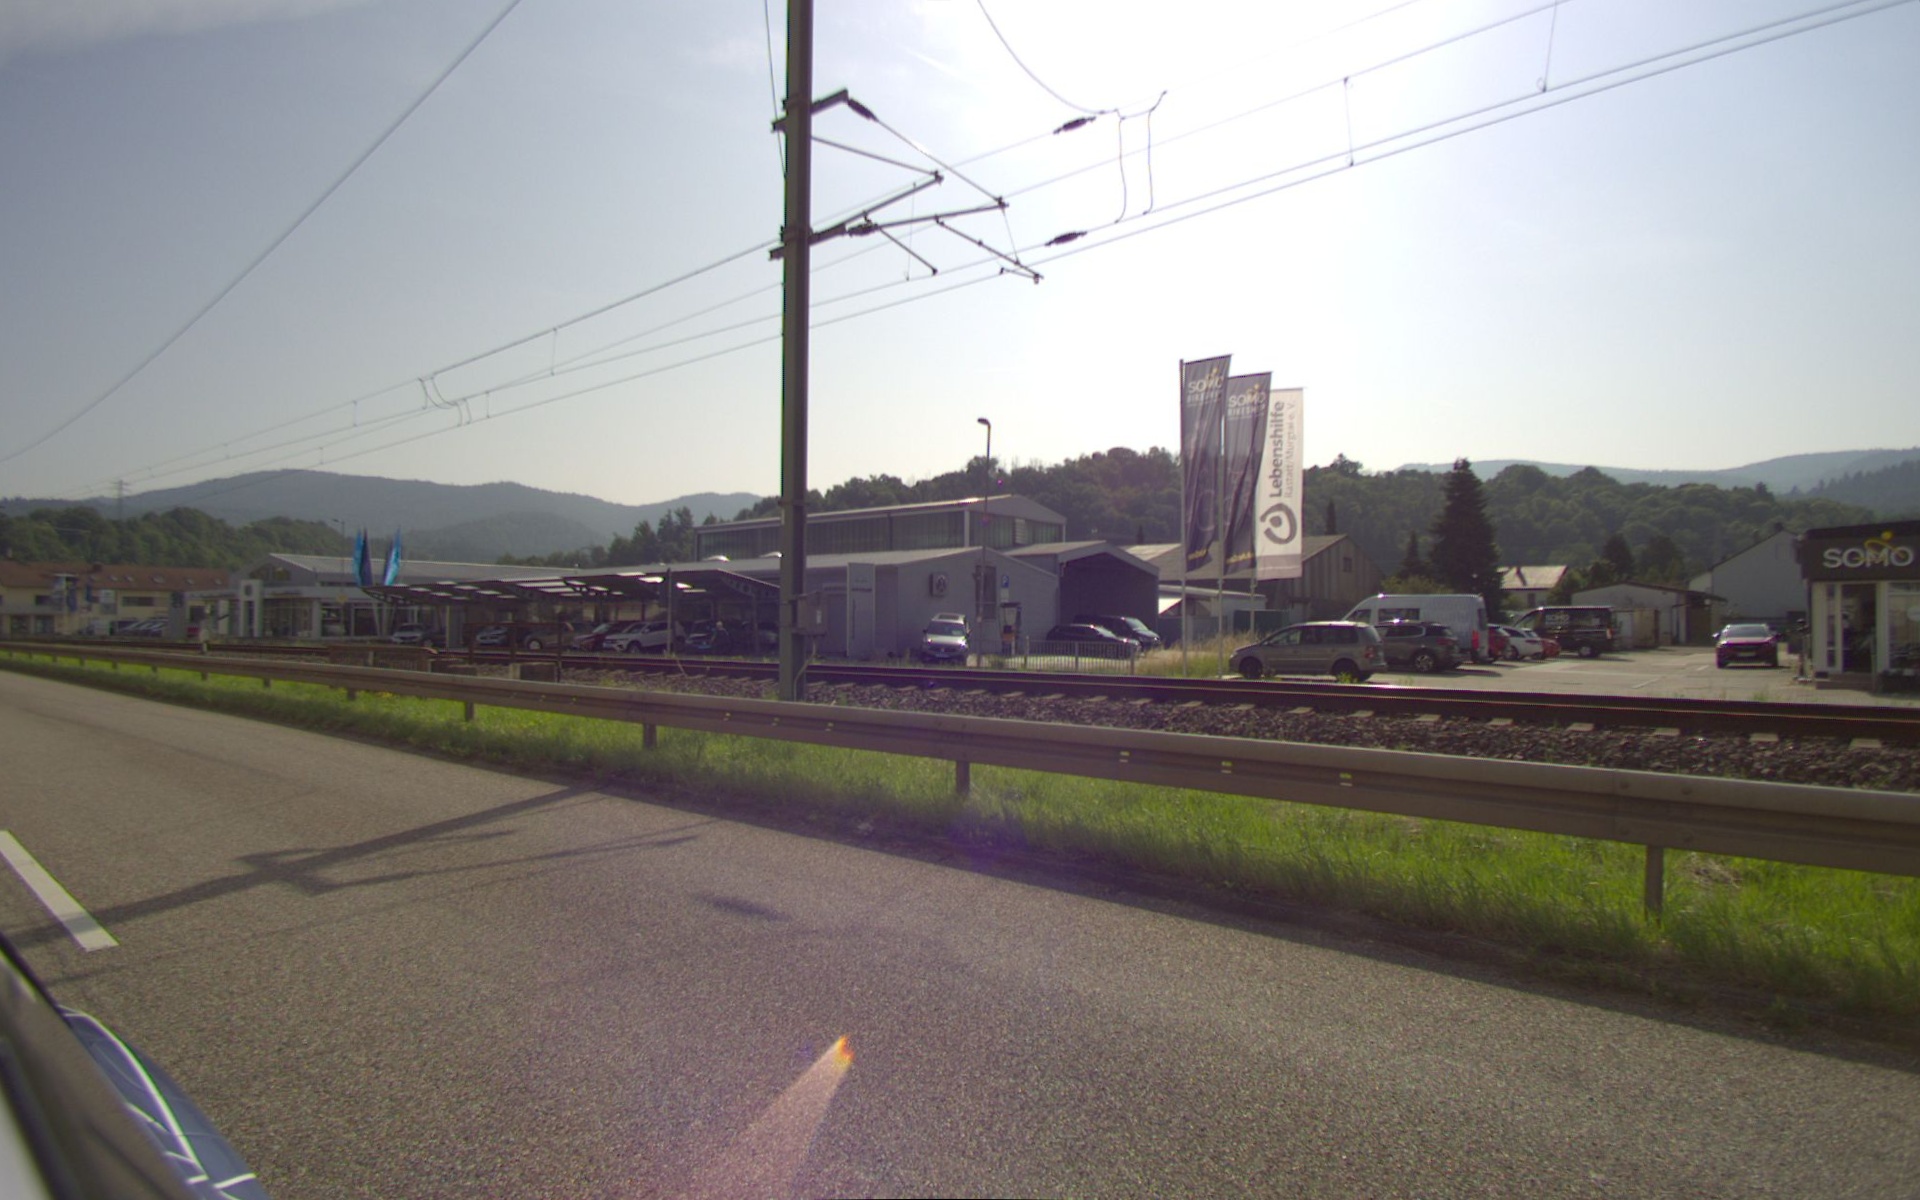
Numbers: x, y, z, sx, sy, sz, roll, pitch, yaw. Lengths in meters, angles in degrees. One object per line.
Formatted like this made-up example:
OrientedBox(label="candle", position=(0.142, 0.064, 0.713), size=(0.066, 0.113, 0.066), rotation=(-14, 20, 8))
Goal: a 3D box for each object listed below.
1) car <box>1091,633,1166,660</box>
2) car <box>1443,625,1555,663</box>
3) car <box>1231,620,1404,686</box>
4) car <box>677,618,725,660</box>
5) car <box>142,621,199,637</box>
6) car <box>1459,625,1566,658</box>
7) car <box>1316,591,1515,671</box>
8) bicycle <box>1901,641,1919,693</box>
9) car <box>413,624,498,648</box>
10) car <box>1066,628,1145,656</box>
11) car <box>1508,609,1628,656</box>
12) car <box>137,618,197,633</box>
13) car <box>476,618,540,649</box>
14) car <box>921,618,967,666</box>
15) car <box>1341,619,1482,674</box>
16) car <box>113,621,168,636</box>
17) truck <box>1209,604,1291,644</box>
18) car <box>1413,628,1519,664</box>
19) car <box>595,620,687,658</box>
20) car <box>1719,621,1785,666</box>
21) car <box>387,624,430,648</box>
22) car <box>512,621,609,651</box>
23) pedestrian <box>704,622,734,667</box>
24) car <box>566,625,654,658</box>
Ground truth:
OrientedBox(label="car", position=(8.460, 2.330, 50.903), size=(3.476, 1.308, 1.441), rotation=(-2, -2, 32))
OrientedBox(label="car", position=(23.414, 1.884, 44.045), size=(4.068, 1.553, 1.562), rotation=(-1, -2, 41))
OrientedBox(label="car", position=(10.092, 1.451, 28.739), size=(4.363, 1.701, 1.504), rotation=(-1, 0, 37))
OrientedBox(label="car", position=(-11.492, 1.686, 45.100), size=(1.636, 1.634, 4.039), rotation=(-2, 1, -9))
OrientedBox(label="car", position=(-76.054, 2.810, 97.583), size=(1.751, 1.471, 3.966), rotation=(-1, -2, 25))
OrientedBox(label="car", position=(25.160, 1.878, 46.154), size=(4.068, 1.453, 1.562), rotation=(-1, -2, 41))
OrientedBox(label="car", position=(16.368, 1.031, 36.568), size=(6.152, 2.653, 2.350), rotation=(1, -1, 38))
OrientedBox(label="bicycle", position=(22.508, 1.547, 23.549), size=(0.729, 1.139, 2.145), rotation=(-1, -2, 39))
OrientedBox(label="car", position=(-29.880, 2.127, 60.015), size=(4.146, 1.352, 1.848), rotation=(0, -2, -2))
OrientedBox(label="car", position=(6.949, 2.015, 48.485), size=(3.476, 1.278, 1.441), rotation=(-2, -2, 32))
OrientedBox(label="car", position=(29.815, 1.590, 49.722), size=(4.761, 2.228, 1.973), rotation=(-1, -2, 41))
OrientedBox(label="car", position=(-73.371, 2.394, 93.644), size=(1.854, 1.385, 3.958), rotation=(-2, -3, 31))
OrientedBox(label="car", position=(-25.457, 1.862, 57.146), size=(1.820, 1.539, 4.273), rotation=(-2, 1, -2))
OrientedBox(label="car", position=(-0.588, 1.618, 40.065), size=(1.504, 1.541, 3.996), rotation=(0, 3, 4))
OrientedBox(label="car", position=(15.040, 1.519, 33.779), size=(3.994, 1.676, 1.850), rotation=(0, -1, 37))
OrientedBox(label="car", position=(-83.203, 2.914, 102.783), size=(1.757, 1.471, 3.951), rotation=(-2, -3, 36))
OrientedBox(label="truck", position=(18.416, 1.493, 64.369), size=(4.634, 2.443, 1.975), rotation=(0, -1, 37))
OrientedBox(label="car", position=(20.115, 1.803, 40.321), size=(3.519, 1.368, 1.499), rotation=(-1, -2, 41))
OrientedBox(label="car", position=(-15.020, 1.795, 47.825), size=(1.660, 1.539, 3.920), rotation=(-2, 1, 37))
OrientedBox(label="car", position=(29.714, 1.612, 37.931), size=(1.746, 1.613, 3.946), rotation=(-2, -3, 40))
OrientedBox(label="car", position=(-34.294, 2.219, 63.064), size=(1.815, 1.396, 4.538), rotation=(0, -2, -22))
OrientedBox(label="car", position=(-20.810, 1.882, 52.797), size=(4.374, 1.517, 1.846), rotation=(0, -2, 1))
OrientedBox(label="pedestrian", position=(-9.634, 1.778, 40.451), size=(0.833, 1.747, 0.796), rotation=(-2, -3, 32))
OrientedBox(label="car", position=(-17.068, 1.992, 49.488), size=(1.499, 1.335, 3.920), rotation=(-2, 1, 37))
